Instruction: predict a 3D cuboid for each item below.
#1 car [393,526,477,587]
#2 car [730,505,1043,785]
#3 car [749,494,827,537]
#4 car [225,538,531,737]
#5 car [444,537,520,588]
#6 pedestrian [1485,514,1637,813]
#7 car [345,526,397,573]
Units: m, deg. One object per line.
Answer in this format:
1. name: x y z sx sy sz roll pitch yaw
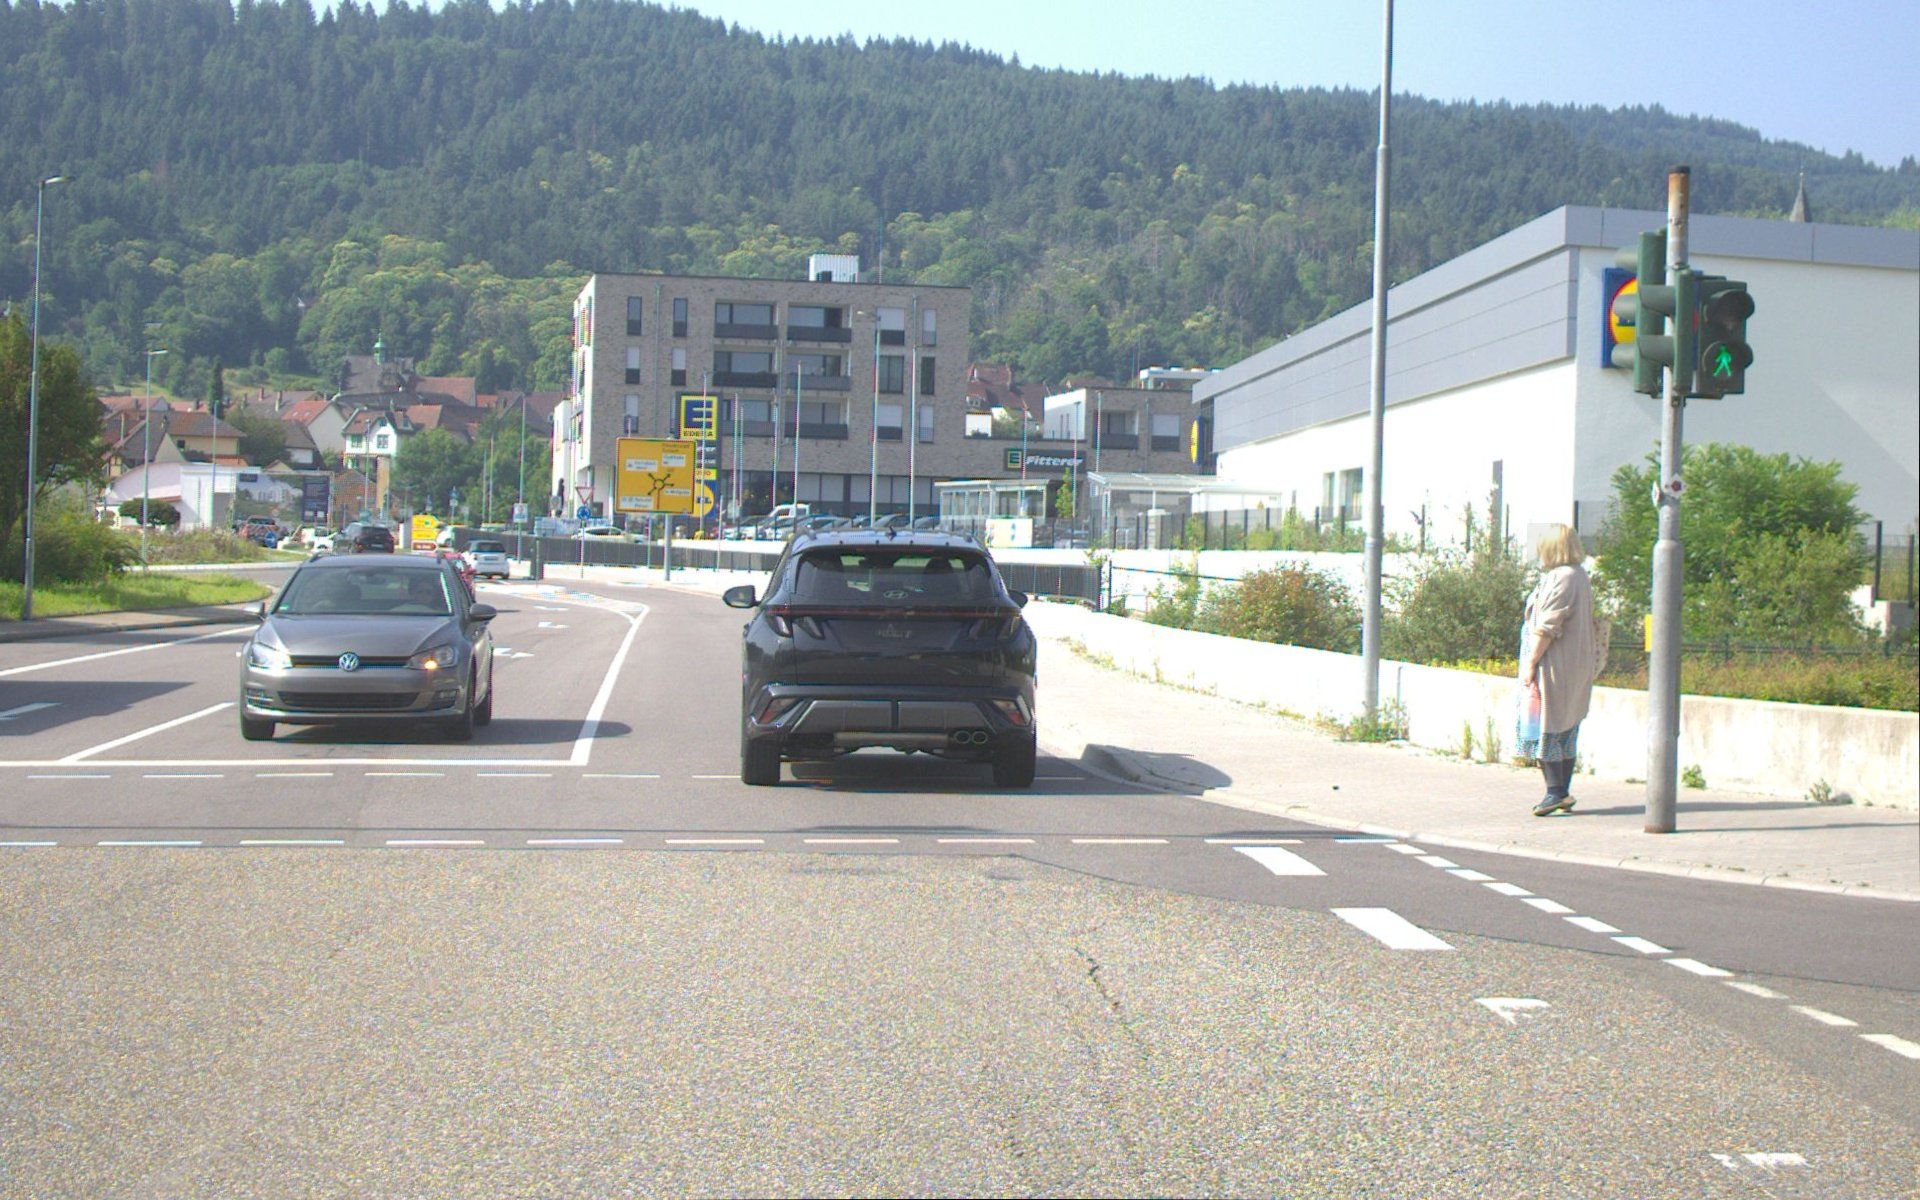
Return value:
1. car: -13.204 -1.092 86.668 1.837 1.487 4.433 0 1 -5
2. car: -0.439 0.247 22.825 1.881 1.678 4.000 1 1 0
3. car: -8.850 -4.343 177.189 3.986 2.128 2.000 1 1 -2
4. car: -4.611 0.249 27.792 1.772 1.468 4.220 1 1 0
5. car: -19.186 -1.522 137.794 1.993 2.007 4.001 0 1 -24
6. pedestrian: 3.400 0.352 19.480 0.710 1.665 0.593 1 1 -3
7. car: -25.835 -2.205 150.934 1.993 2.007 4.001 0 1 -6
